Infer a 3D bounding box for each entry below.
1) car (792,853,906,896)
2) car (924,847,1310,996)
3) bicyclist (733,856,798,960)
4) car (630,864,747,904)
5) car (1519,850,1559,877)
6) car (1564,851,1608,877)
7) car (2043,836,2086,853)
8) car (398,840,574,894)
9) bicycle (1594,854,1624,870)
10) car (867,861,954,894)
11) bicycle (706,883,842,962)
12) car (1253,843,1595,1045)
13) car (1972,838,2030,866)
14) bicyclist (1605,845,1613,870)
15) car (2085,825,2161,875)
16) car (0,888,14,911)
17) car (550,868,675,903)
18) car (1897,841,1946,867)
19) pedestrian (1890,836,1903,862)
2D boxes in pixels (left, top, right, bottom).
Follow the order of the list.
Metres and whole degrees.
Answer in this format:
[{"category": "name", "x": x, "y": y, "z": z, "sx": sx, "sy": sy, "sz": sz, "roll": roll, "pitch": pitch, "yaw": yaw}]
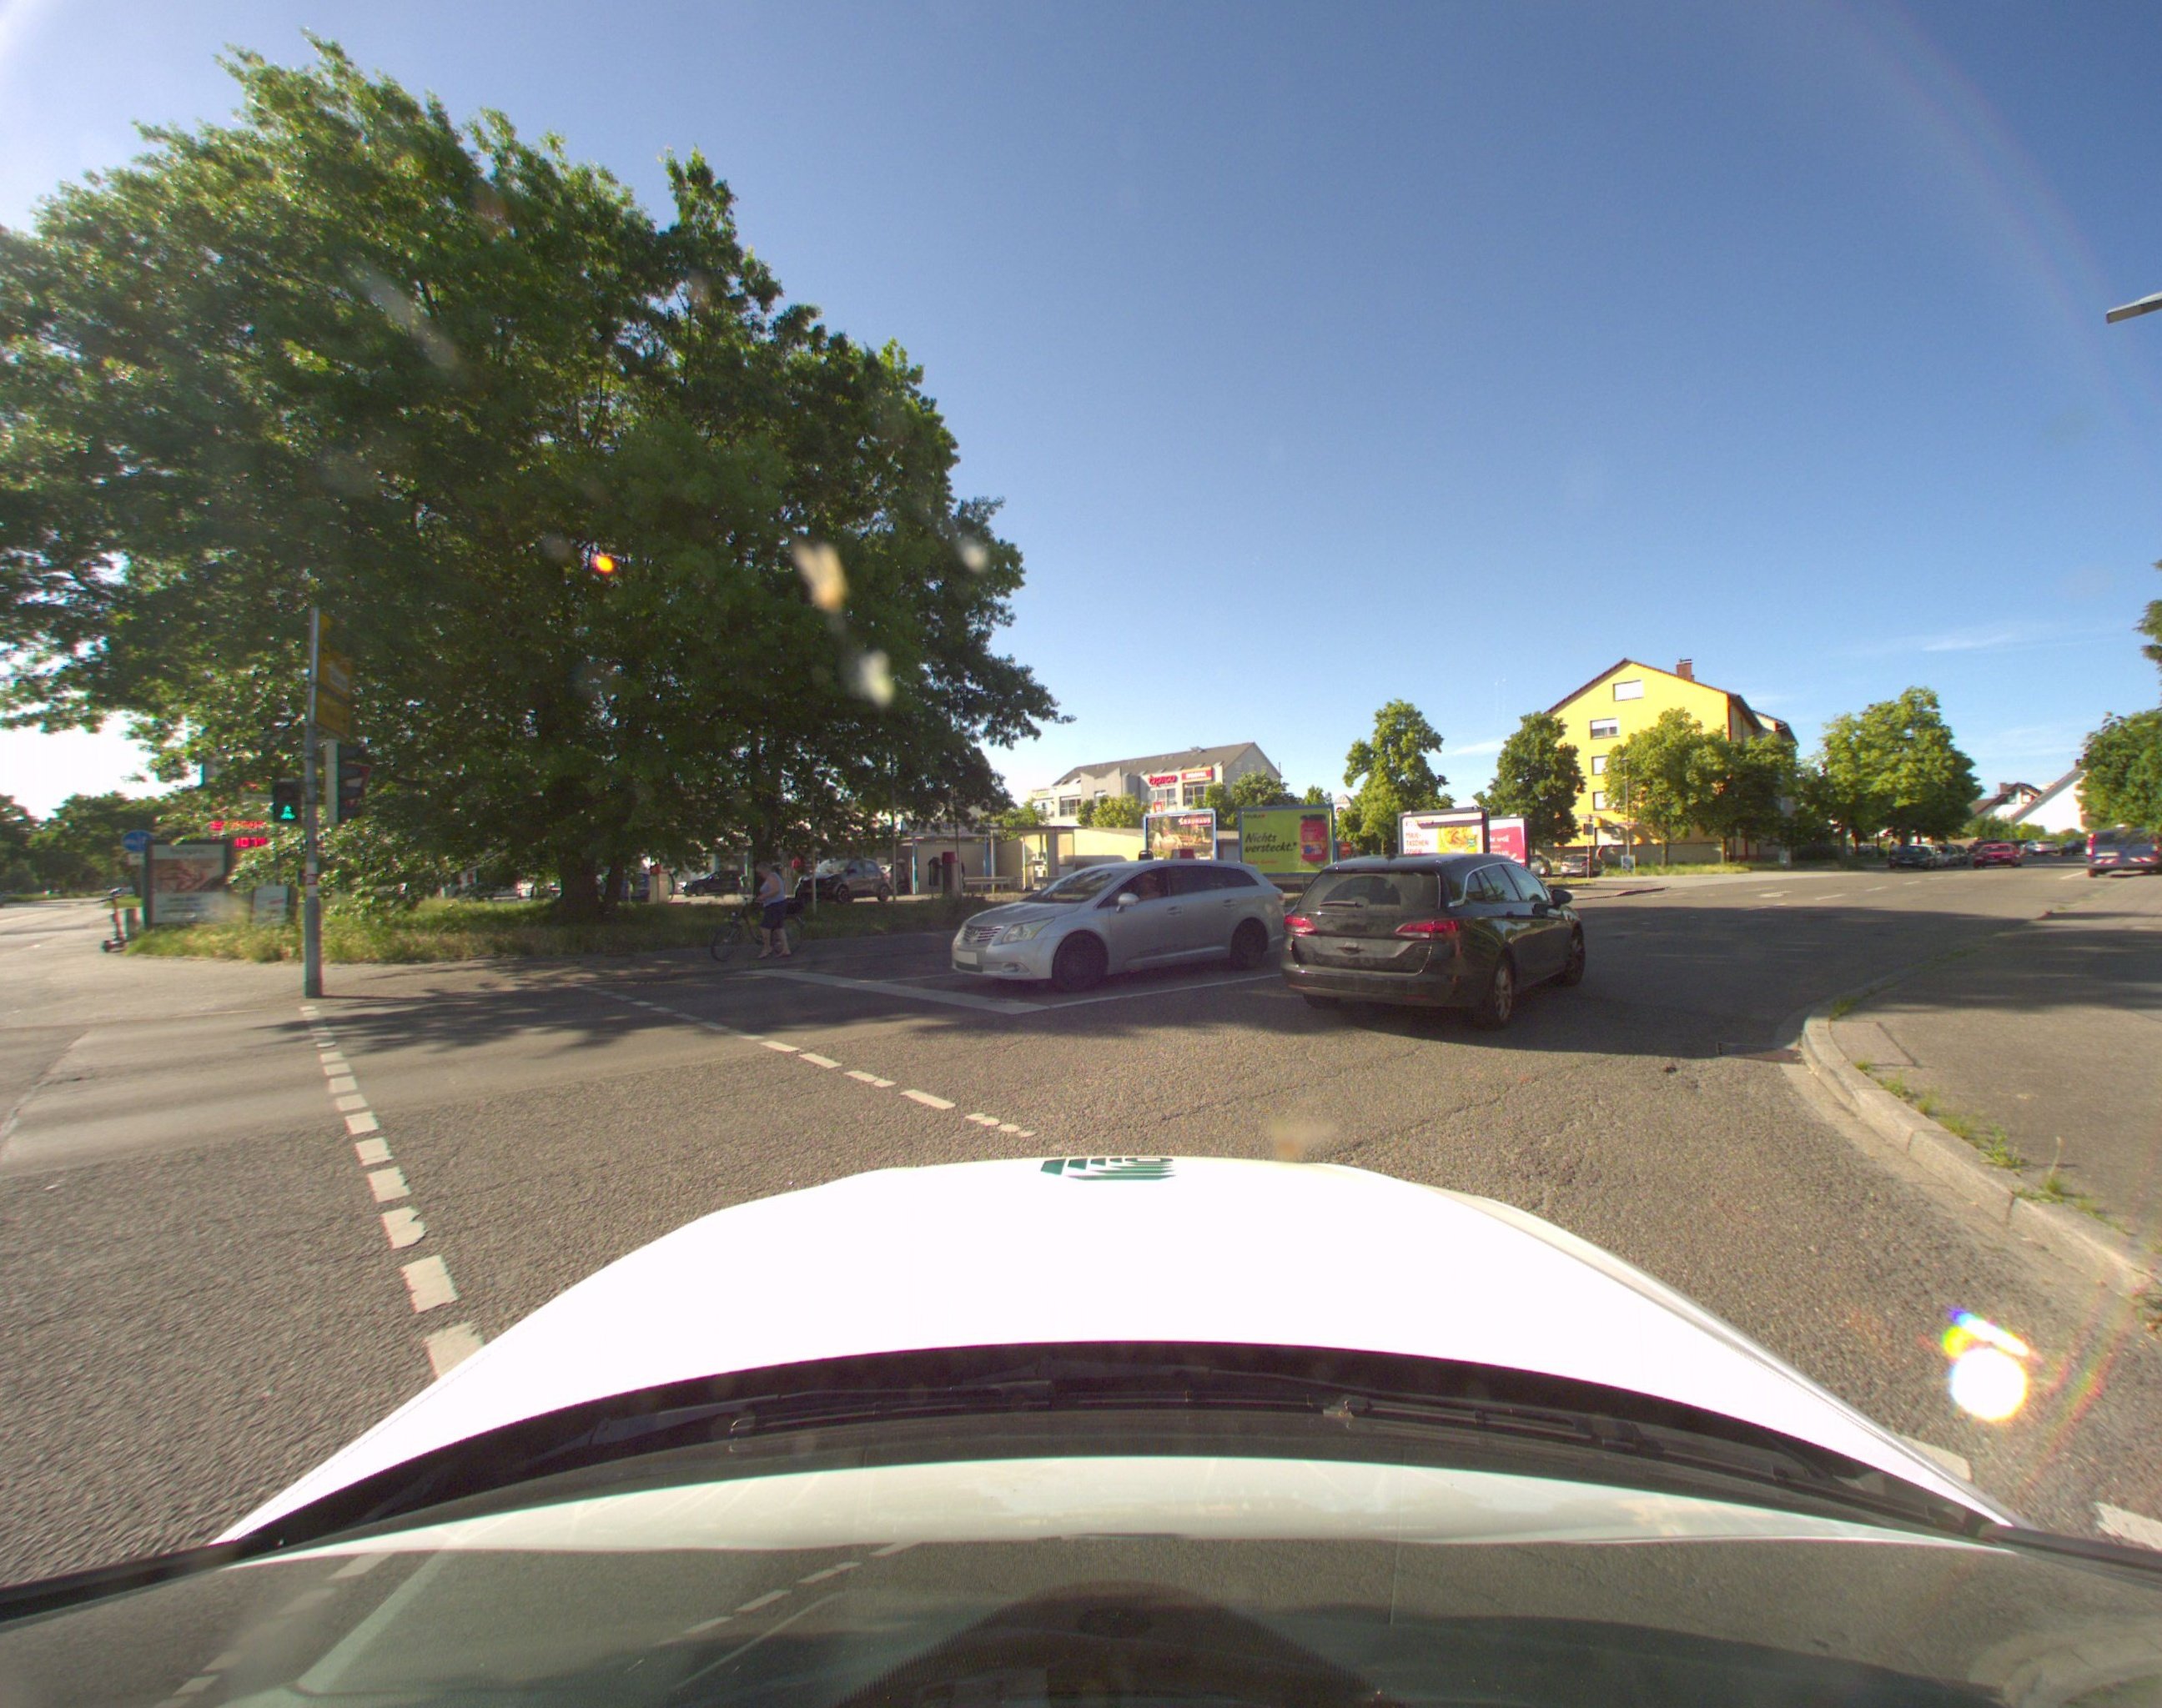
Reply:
[{"category": "car", "x": -7.898, "y": 0.754, "z": 28.104, "sx": 1.739, "sy": 1.376, "sz": 4.019, "roll": -1, "pitch": -3, "yaw": 19}, {"category": "car", "x": 0.631, "y": 0.718, "z": 10.598, "sx": 4.911, "sy": 1.489, "sz": 1.822, "roll": -1, "pitch": -2, "yaw": -36}, {"category": "bicyclist", "x": -5.172, "y": 0.860, "z": 13.365, "sx": 0.834, "sy": 1.641, "sz": 0.536, "roll": -1, "pitch": -1, "yaw": -42}, {"category": "car", "x": -15.698, "y": 1.212, "z": 32.761, "sx": 1.512, "sy": 1.512, "sz": 4.025, "roll": -2, "pitch": -3, "yaw": 33}, {"category": "car", "x": 30.898, "y": 0.628, "z": 54.902, "sx": 1.681, "sy": 1.622, "sz": 3.906, "roll": -3, "pitch": 0, "yaw": 39}, {"category": "car", "x": 32.355, "y": 0.635, "z": 52.160, "sx": 1.712, "sy": 1.464, "sz": 3.905, "roll": -3, "pitch": -1, "yaw": 42}, {"category": "car", "x": 98.446, "y": -0.900, "z": 81.567, "sx": 1.802, "sy": 1.534, "sz": 4.285, "roll": -3, "pitch": -2, "yaw": 38}, {"category": "car", "x": -24.987, "y": 0.633, "z": 34.422, "sx": 1.975, "sy": 2.099, "sz": 5.687, "roll": -3, "pitch": -4, "yaw": 43}, {"category": "bicycle", "x": 35.531, "y": 0.527, "z": 54.789, "sx": 1.602, "sy": 1.011, "sz": 0.408, "roll": -1, "pitch": -3, "yaw": 23}, {"category": "car", "x": -8.719, "y": 1.259, "z": 41.851, "sx": 1.974, "sy": 1.607, "sz": 4.024, "roll": -3, "pitch": -4, "yaw": 41}, {"category": "bicycle", "x": -5.082, "y": 1.099, "z": 13.584, "sx": 2.037, "sy": 1.141, "sz": 0.522, "roll": -1, "pitch": -1, "yaw": -41}, {"category": "car", "x": 3.644, "y": 0.675, "z": 8.182, "sx": 1.745, "sy": 1.491, "sz": 4.316, "roll": -1, "pitch": -1, "yaw": 43}, {"category": "car", "x": 56.398, "y": -0.136, "z": 49.919, "sx": 4.413, "sy": 1.568, "sz": 1.996, "roll": -2, "pitch": 1, "yaw": -37}, {"category": "bicyclist", "x": 35.533, "y": 0.222, "z": 54.800, "sx": 0.385, "sy": 1.686, "sz": 0.384, "roll": -2, "pitch": -3, "yaw": 23}, {"category": "car", "x": 42.763, "y": -0.156, "z": 33.256, "sx": 4.717, "sy": 1.908, "sz": 1.823, "roll": -1, "pitch": -1, "yaw": -35}, {"category": "car", "x": -97.306, "y": 4.018, "z": 71.760, "sx": 3.971, "sy": 2.014, "sz": 2.001, "roll": 0, "pitch": -3, "yaw": 2}, {"category": "car", "x": -19.088, "y": 1.311, "z": 33.336, "sx": 1.776, "sy": 1.335, "sz": 4.024, "roll": -2, "pitch": -3, "yaw": 32}, {"category": "car", "x": 51.546, "y": 0.008, "z": 49.924, "sx": 4.071, "sy": 1.480, "sz": 1.686, "roll": 1, "pitch": -1, "yaw": -39}, {"category": "pedestrian", "x": 56.593, "y": -0.339, "z": 56.540, "sx": 0.698, "sy": 1.761, "sz": 0.500, "roll": 2, "pitch": -4, "yaw": -39}]
